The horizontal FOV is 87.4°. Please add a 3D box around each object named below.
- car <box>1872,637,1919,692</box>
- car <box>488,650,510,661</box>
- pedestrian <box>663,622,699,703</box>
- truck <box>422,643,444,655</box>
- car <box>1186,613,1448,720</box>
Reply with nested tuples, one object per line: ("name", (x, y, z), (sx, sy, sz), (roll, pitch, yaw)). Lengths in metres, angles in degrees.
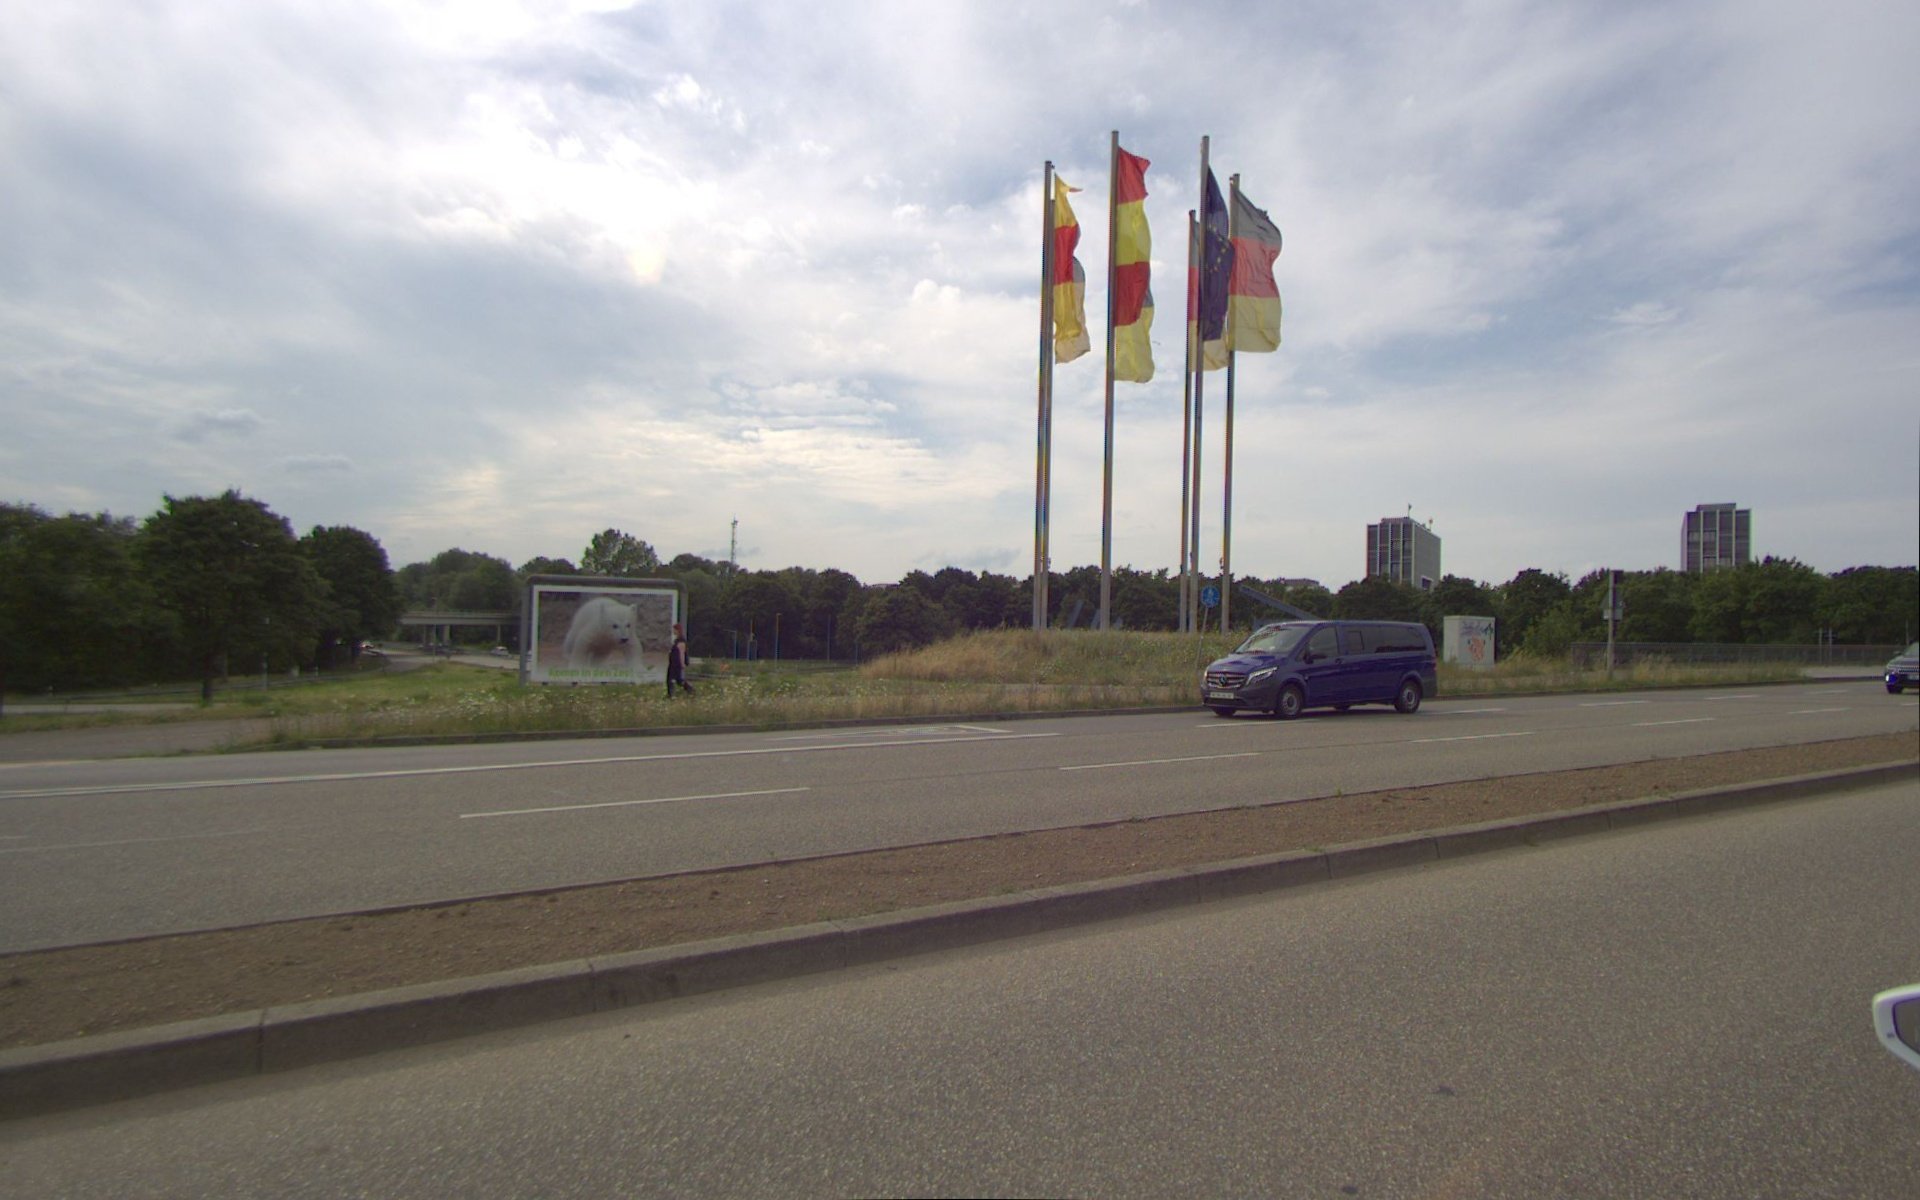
("car", (27.630, 1.783, 28.276), (4.128, 1.459, 1.755), (1, -3, -31))
("car", (-77.061, 9.308, 167.720), (3.939, 1.773, 1.796), (-2, -3, 39))
("pedestrian", (-6.019, 1.331, 21.682), (0.669, 1.715, 0.864), (0, -2, -21))
("truck", (-99.005, 9.207, 188.615), (4.488, 2.040, 1.788), (0, -1, 35))
("car", (7.226, 1.289, 20.155), (5.438, 1.918, 1.839), (1, -4, -30))
